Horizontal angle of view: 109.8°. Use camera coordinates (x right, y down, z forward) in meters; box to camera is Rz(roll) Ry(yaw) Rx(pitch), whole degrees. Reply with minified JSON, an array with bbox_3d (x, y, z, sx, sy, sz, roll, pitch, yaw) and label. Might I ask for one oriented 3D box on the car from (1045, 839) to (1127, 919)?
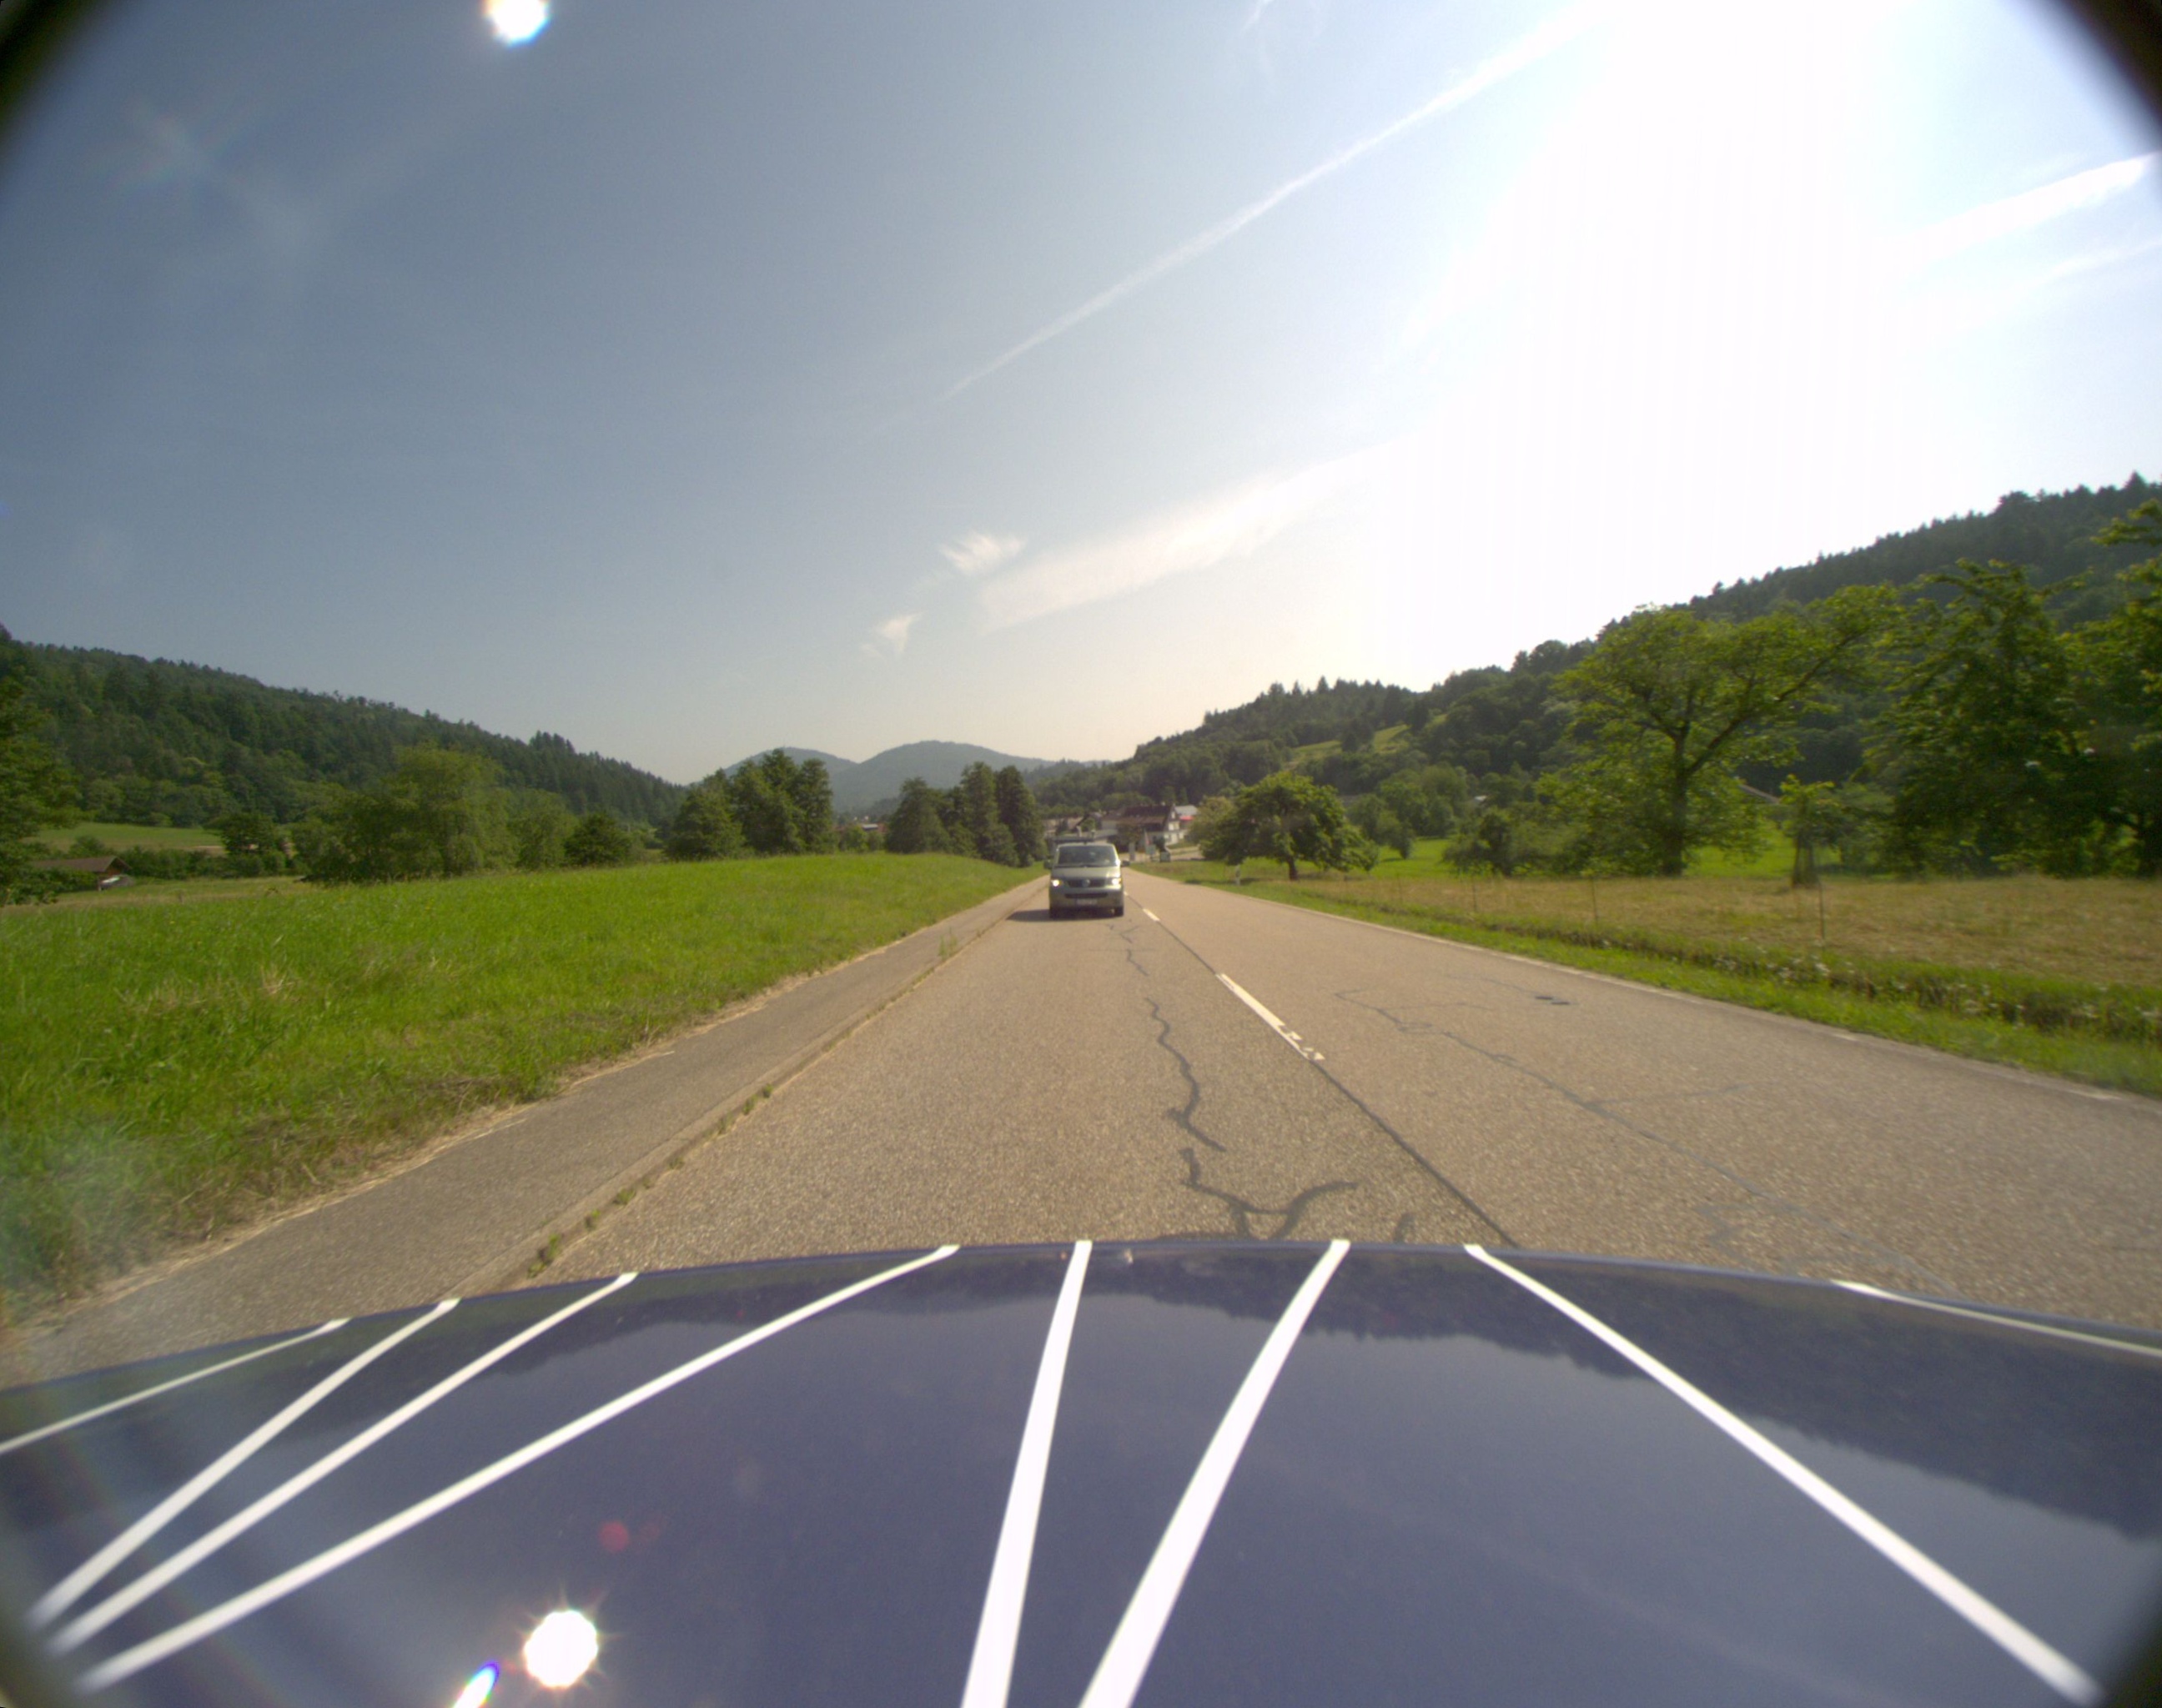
[{"bbox_3d":[0.236,0.669,22.155,2.023,1.970,5.050,-3,-1,2],"label":"car"}]
